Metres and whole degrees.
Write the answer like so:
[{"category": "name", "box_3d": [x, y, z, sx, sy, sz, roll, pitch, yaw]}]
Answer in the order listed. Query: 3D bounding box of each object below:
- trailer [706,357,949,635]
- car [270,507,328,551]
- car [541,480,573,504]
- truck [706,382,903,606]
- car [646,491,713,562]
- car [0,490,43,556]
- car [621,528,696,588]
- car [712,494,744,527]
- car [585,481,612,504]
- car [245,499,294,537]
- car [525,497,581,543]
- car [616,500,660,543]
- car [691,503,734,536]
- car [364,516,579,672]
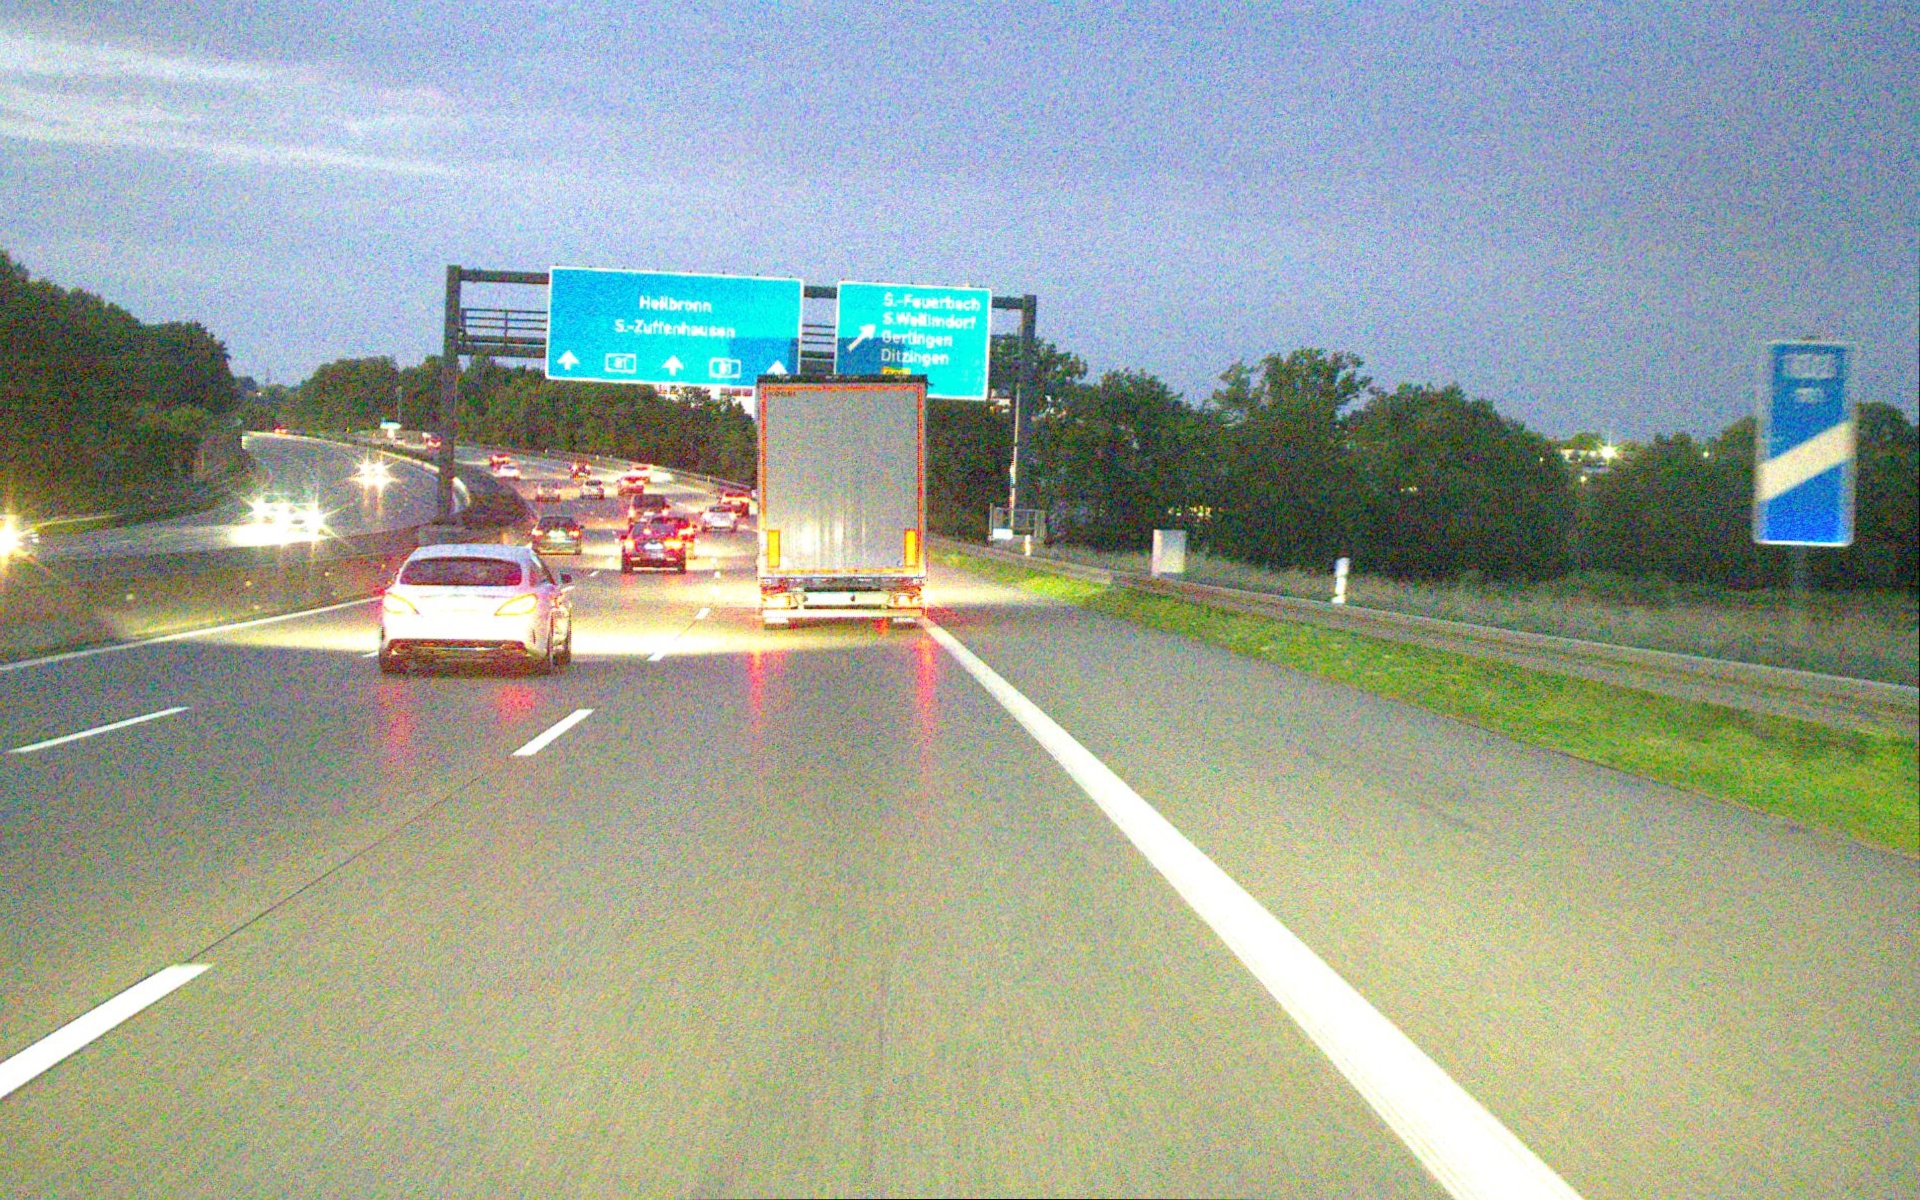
[{"category": "trailer", "box_3d": [-2.522, -1.791, 58.487, 3.549, 4.102, 15.067, 0, 2, -4]}, {"category": "car", "box_3d": [-29.804, -3.180, 155.048, 1.875, 1.887, 5.058, 1, 0, -3]}, {"category": "car", "box_3d": [-29.676, -7.982, 253.356, 1.993, 1.616, 4.000, 1, 0, -2]}, {"category": "truck", "box_3d": [-3.056, -2.026, 65.561, 3.550, 4.077, 6.153, 0, 2, -4]}, {"category": "car", "box_3d": [-9.797, -2.530, 119.825, 1.993, 2.372, 4.001, 1, 0, -9]}, {"category": "car", "box_3d": [-29.105, -2.305, 103.309, 1.993, 1.887, 5.058, 1, 0, -3]}, {"category": "car", "box_3d": [-8.817, -1.217, 100.912, 2.065, 1.680, 4.577, 1, 0, -4]}, {"category": "car", "box_3d": [-14.884, -5.758, 220.893, 1.993, 1.971, 4.001, 1, 0, -4]}, {"category": "car", "box_3d": [-27.469, -8.151, 261.245, 1.993, 1.616, 4.001, 1, 0, -5]}, {"category": "car", "box_3d": [-36.563, -4.340, 182.226, 1.993, 1.887, 4.680, 1, 0, -5]}, {"category": "car", "box_3d": [-14.970, -2.937, 126.565, 1.761, 1.569, 4.577, 1, 0, -3]}, {"category": "car", "box_3d": [-15.888, -3.890, 169.952, 1.993, 2.007, 4.000, 1, 0, -3]}, {"category": "car", "box_3d": [-12.592, -4.088, 174.826, 1.993, 1.529, 4.000, 1, 0, -2]}, {"category": "car", "box_3d": [-5.427, -0.074, 38.722, 1.906, 1.609, 4.804, 1, 0, -3]}]
